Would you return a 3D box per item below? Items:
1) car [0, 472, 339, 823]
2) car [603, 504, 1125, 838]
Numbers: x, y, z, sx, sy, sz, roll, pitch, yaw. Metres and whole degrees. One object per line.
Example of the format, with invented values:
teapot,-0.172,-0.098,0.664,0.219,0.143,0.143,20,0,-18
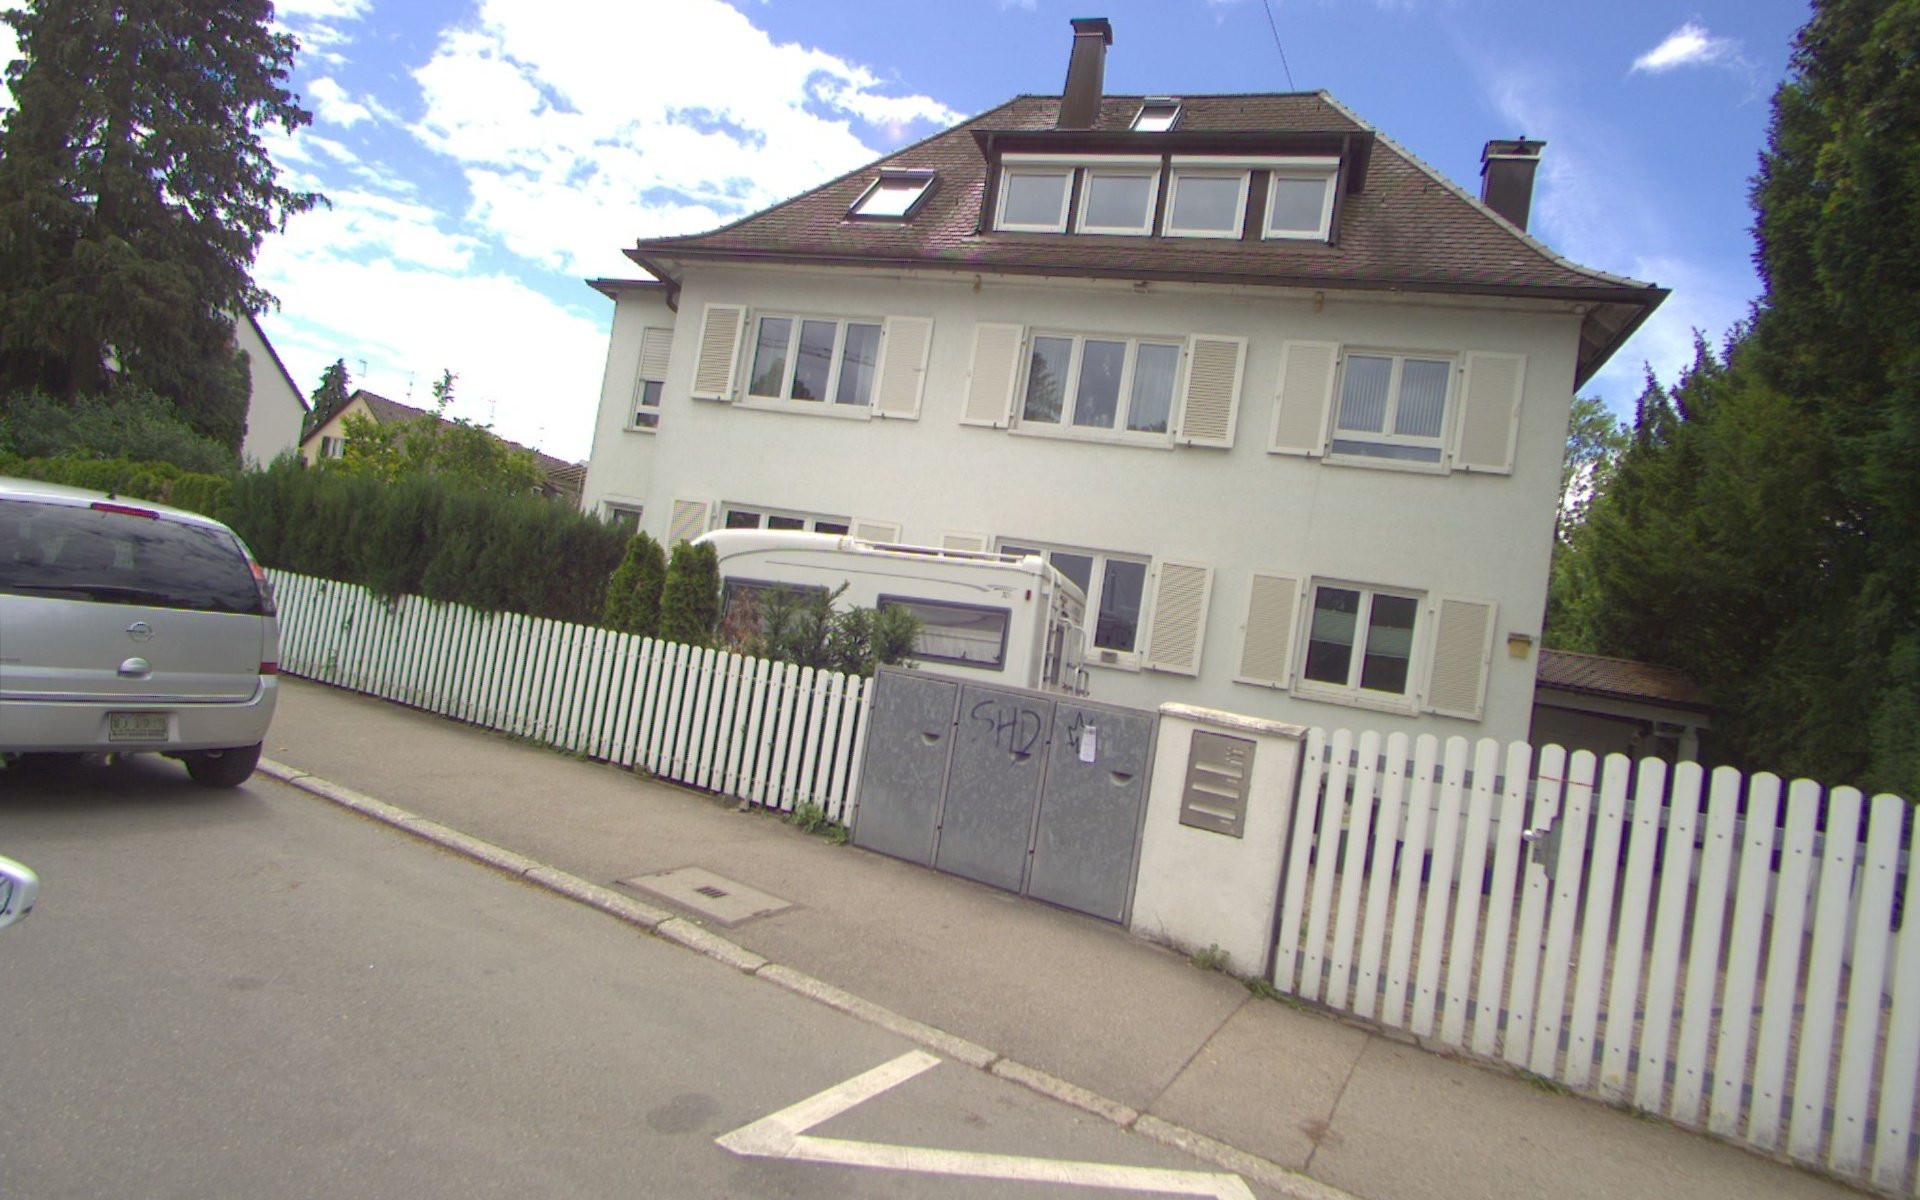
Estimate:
car,-5.836,0.067,6.009,3.949,1.600,1.764,7,-1,29
car,-1.015,0.753,11.639,5.090,2.708,2.511,8,-4,20
